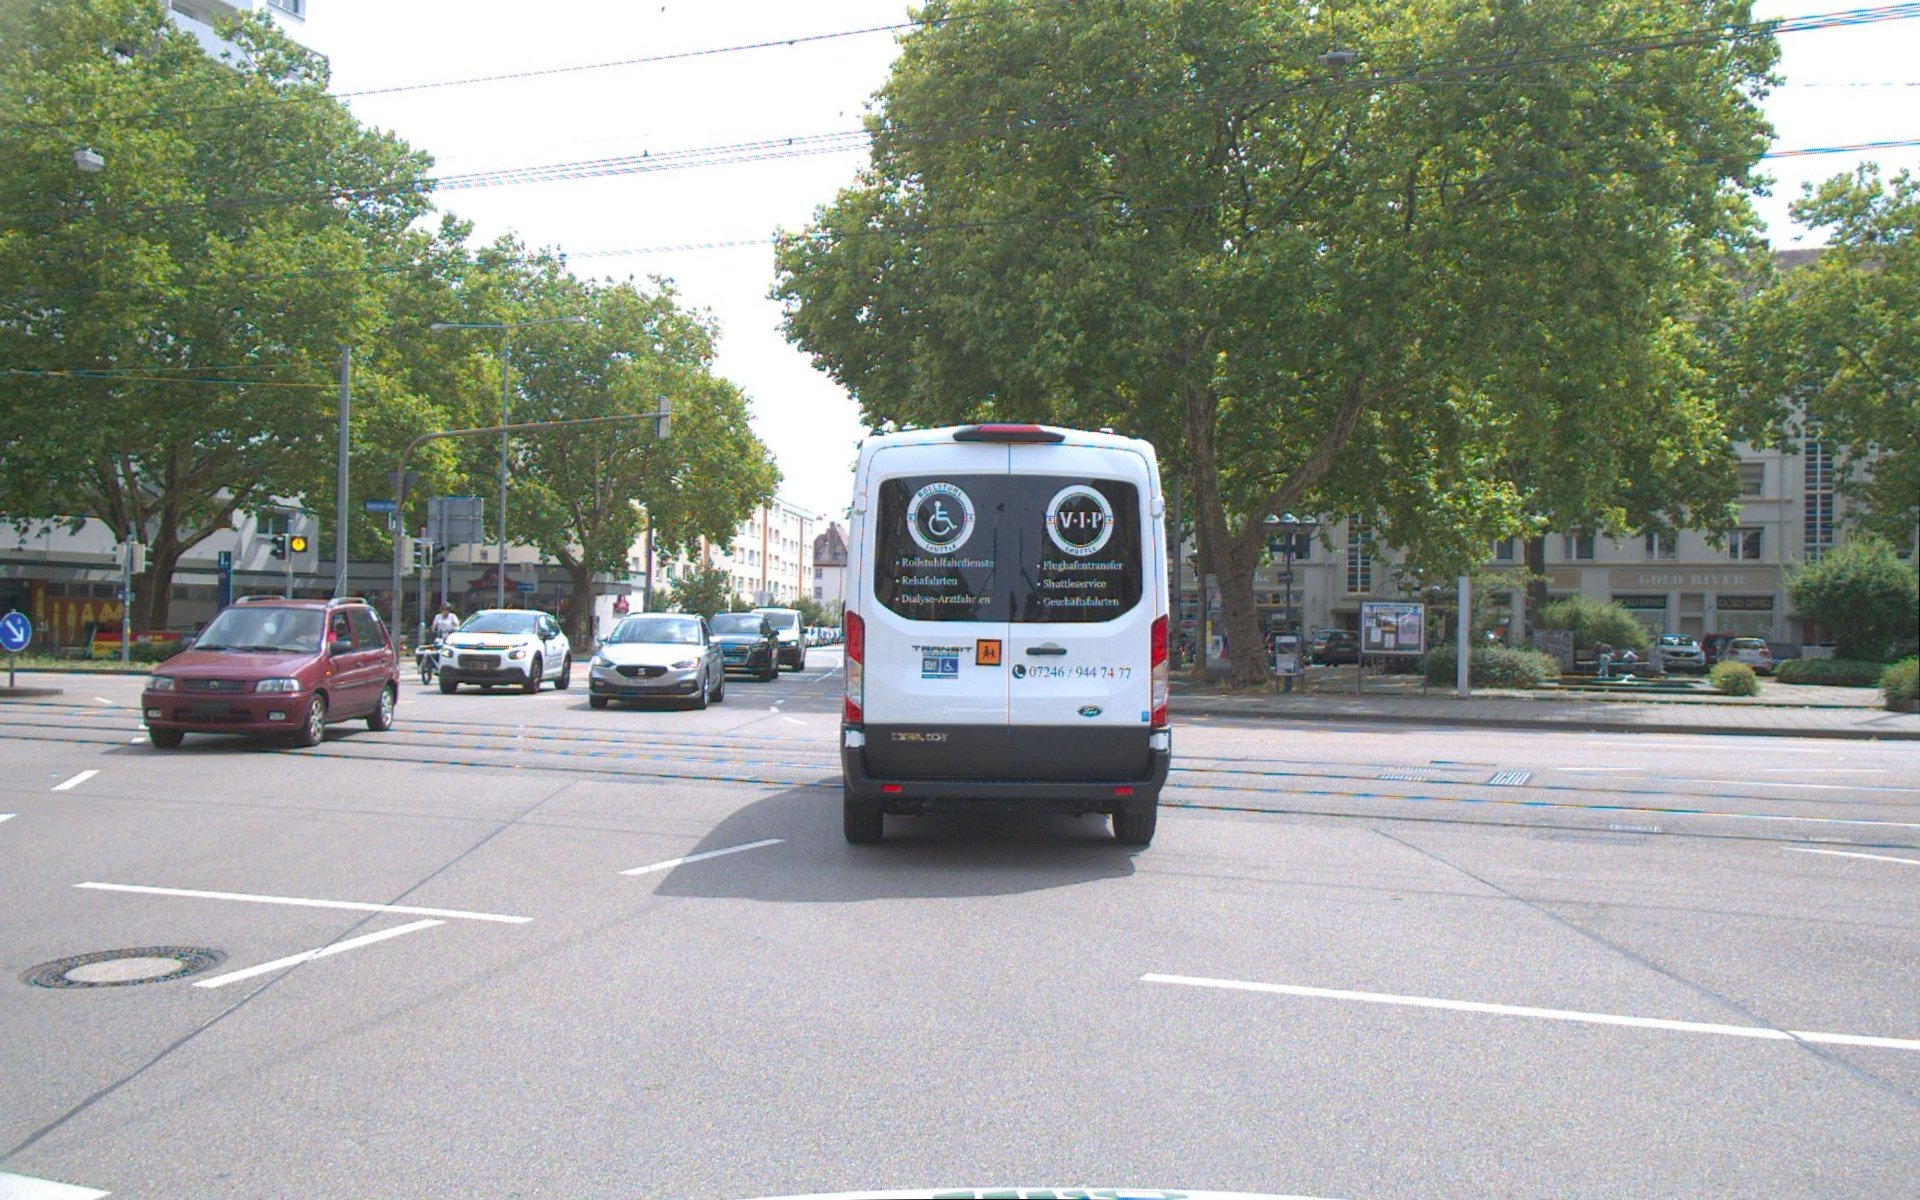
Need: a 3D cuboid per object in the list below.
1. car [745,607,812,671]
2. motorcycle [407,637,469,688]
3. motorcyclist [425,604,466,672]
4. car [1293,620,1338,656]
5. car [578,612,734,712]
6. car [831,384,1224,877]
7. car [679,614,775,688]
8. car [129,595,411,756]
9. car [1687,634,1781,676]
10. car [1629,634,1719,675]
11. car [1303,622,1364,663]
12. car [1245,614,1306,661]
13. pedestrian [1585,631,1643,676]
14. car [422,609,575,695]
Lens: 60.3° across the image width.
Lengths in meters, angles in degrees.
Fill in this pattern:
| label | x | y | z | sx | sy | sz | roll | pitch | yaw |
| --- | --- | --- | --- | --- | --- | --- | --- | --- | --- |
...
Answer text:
| label | x | y | z | sx | sy | sz | roll | pitch | yaw |
| --- | --- | --- | --- | --- | --- | --- | --- | --- | --- |
| car | -5.843 | 1.246 | 53.663 | 1.707 | 1.964 | 4.852 | 0 | -1 | -1 |
| motorcycle | -10.859 | 1.284 | 34.501 | 0.669 | 0.988 | 2.322 | 1 | -1 | -3 |
| motorcyclist | -10.894 | 0.793 | 35.029 | 0.669 | 1.420 | 0.681 | 1 | -1 | -3 |
| car | 17.552 | 1.879 | 81.596 | 1.767 | 1.713 | 4.001 | 0 | -1 | 18 |
| car | -4.715 | 0.929 | 26.192 | 1.795 | 1.452 | 4.119 | 0 | -1 | -1 |
| car | 0.207 | 0.151 | 11.450 | 2.139 | 2.694 | 4.623 | -1 | 0 | -5 |
| car | -5.344 | 1.146 | 38.369 | 1.707 | 1.615 | 4.327 | 0 | -1 | -1 |
| car | -7.255 | 0.751 | 17.797 | 1.560 | 1.534 | 3.805 | 1 | -1 | -3 |
| car | 30.744 | 2.159 | 65.795 | 1.952 | 1.546 | 4.000 | 0 | -1 | 1 |
| car | 28.517 | 2.146 | 66.153 | 1.952 | 1.529 | 4.000 | 0 | -1 | 1 |
| car | 16.047 | 1.806 | 71.237 | 1.767 | 1.713 | 4.000 | 0 | -1 | 1 |
| car | 13.576 | 1.594 | 71.450 | 1.952 | 1.964 | 4.000 | 0 | -1 | 1 |
| pedestrian | 18.856 | 1.530 | 47.720 | 1.069 | 1.258 | 1.441 | -1 | -2 | 1 |
| car | -8.316 | 0.911 | 30.144 | 1.707 | 1.452 | 4.030 | 0 | -1 | -1 |
